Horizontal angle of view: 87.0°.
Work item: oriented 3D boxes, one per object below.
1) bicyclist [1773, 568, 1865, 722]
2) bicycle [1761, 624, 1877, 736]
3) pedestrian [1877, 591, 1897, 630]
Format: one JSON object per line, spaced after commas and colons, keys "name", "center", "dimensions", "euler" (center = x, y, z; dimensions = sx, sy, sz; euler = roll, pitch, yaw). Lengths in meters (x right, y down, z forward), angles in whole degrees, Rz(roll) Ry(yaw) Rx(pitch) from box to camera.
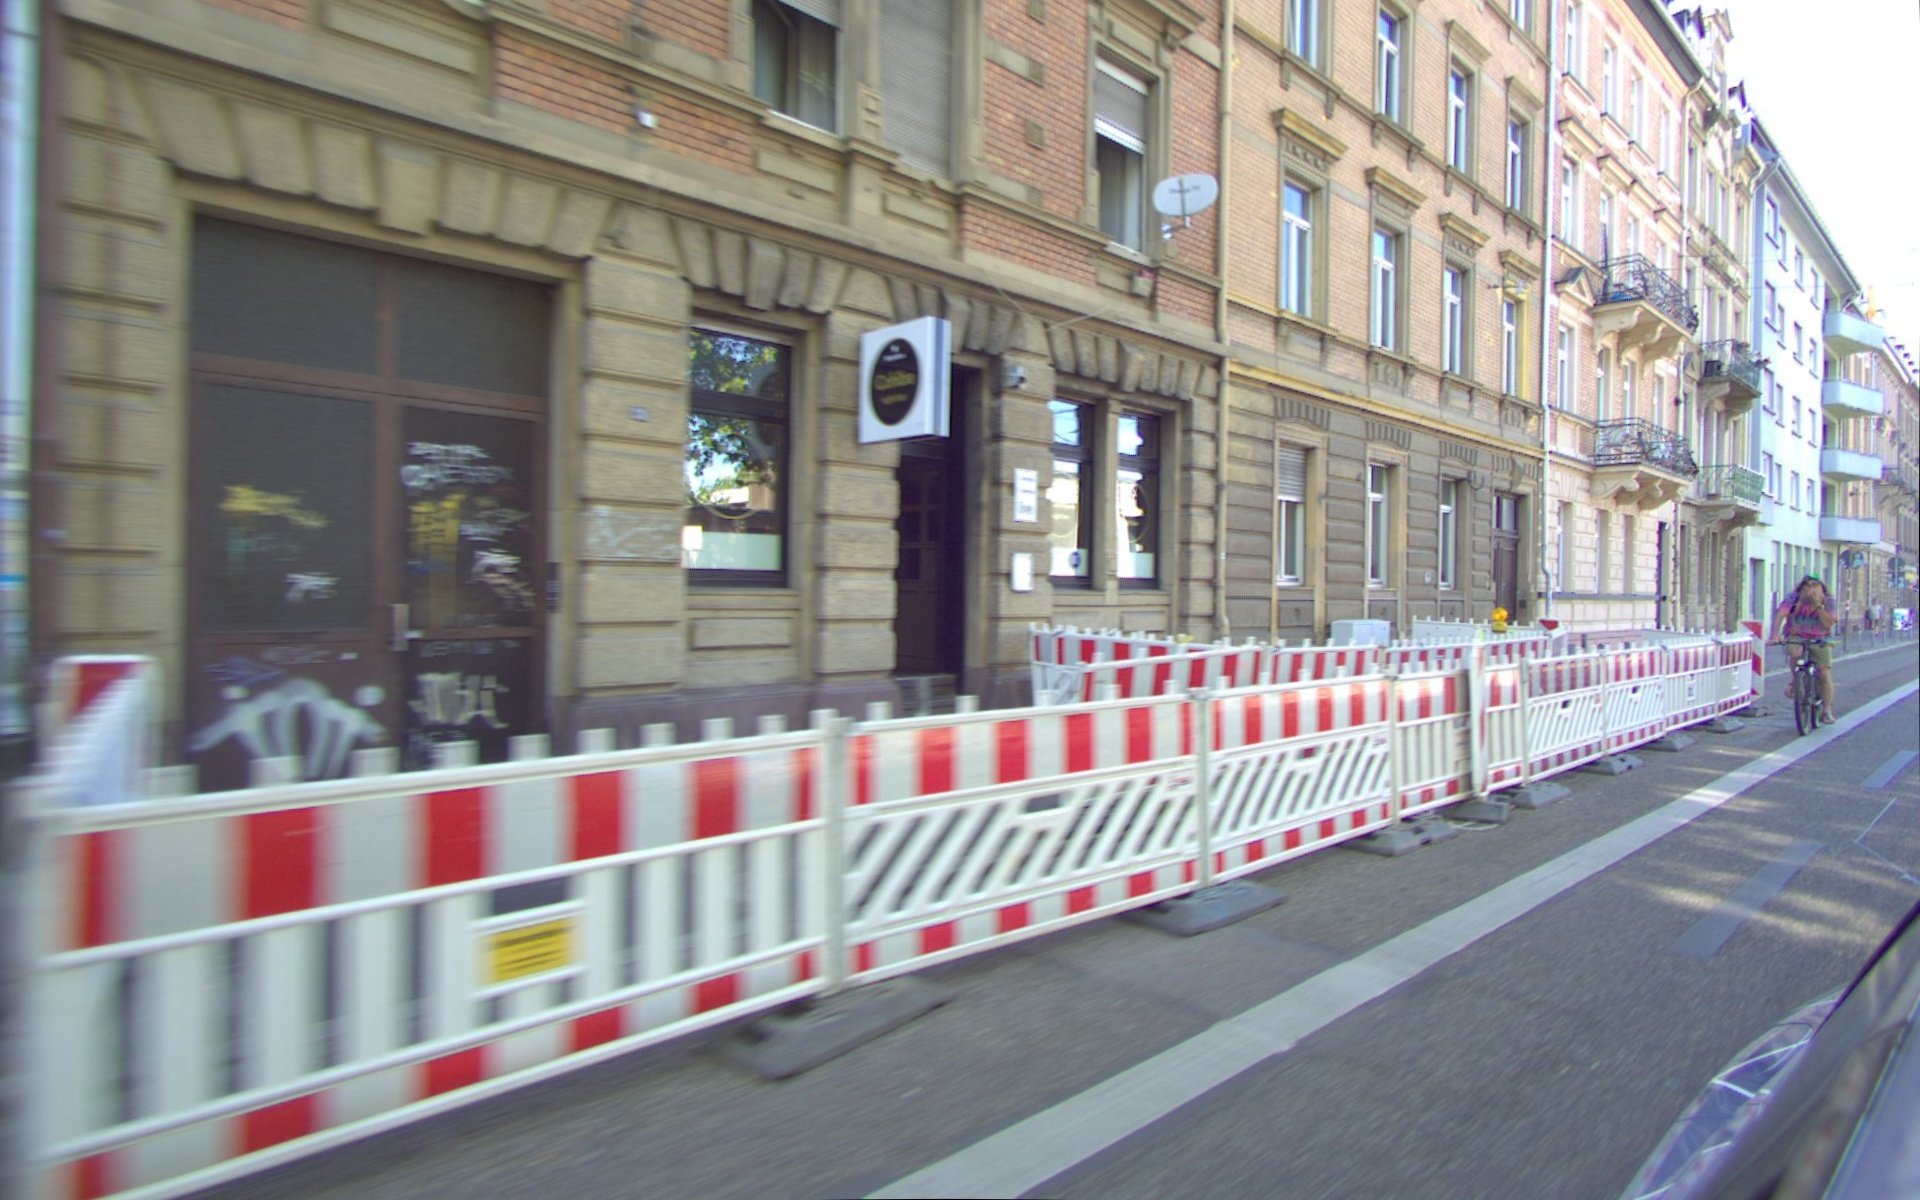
{"name": "bicyclist", "center": [10.116, 0.501, 11.917], "dimensions": [1.025, 1.718, 0.668], "euler": [0, -1, -42]}
{"name": "bicycle", "center": [10.200, 0.885, 11.979], "dimensions": [2.660, 1.129, 0.682], "euler": [0, -1, -42]}
{"name": "pedestrian", "center": [40.969, 0.461, 44.728], "dimensions": [0.465, 1.721, 0.554], "euler": [0, 3, -41]}
